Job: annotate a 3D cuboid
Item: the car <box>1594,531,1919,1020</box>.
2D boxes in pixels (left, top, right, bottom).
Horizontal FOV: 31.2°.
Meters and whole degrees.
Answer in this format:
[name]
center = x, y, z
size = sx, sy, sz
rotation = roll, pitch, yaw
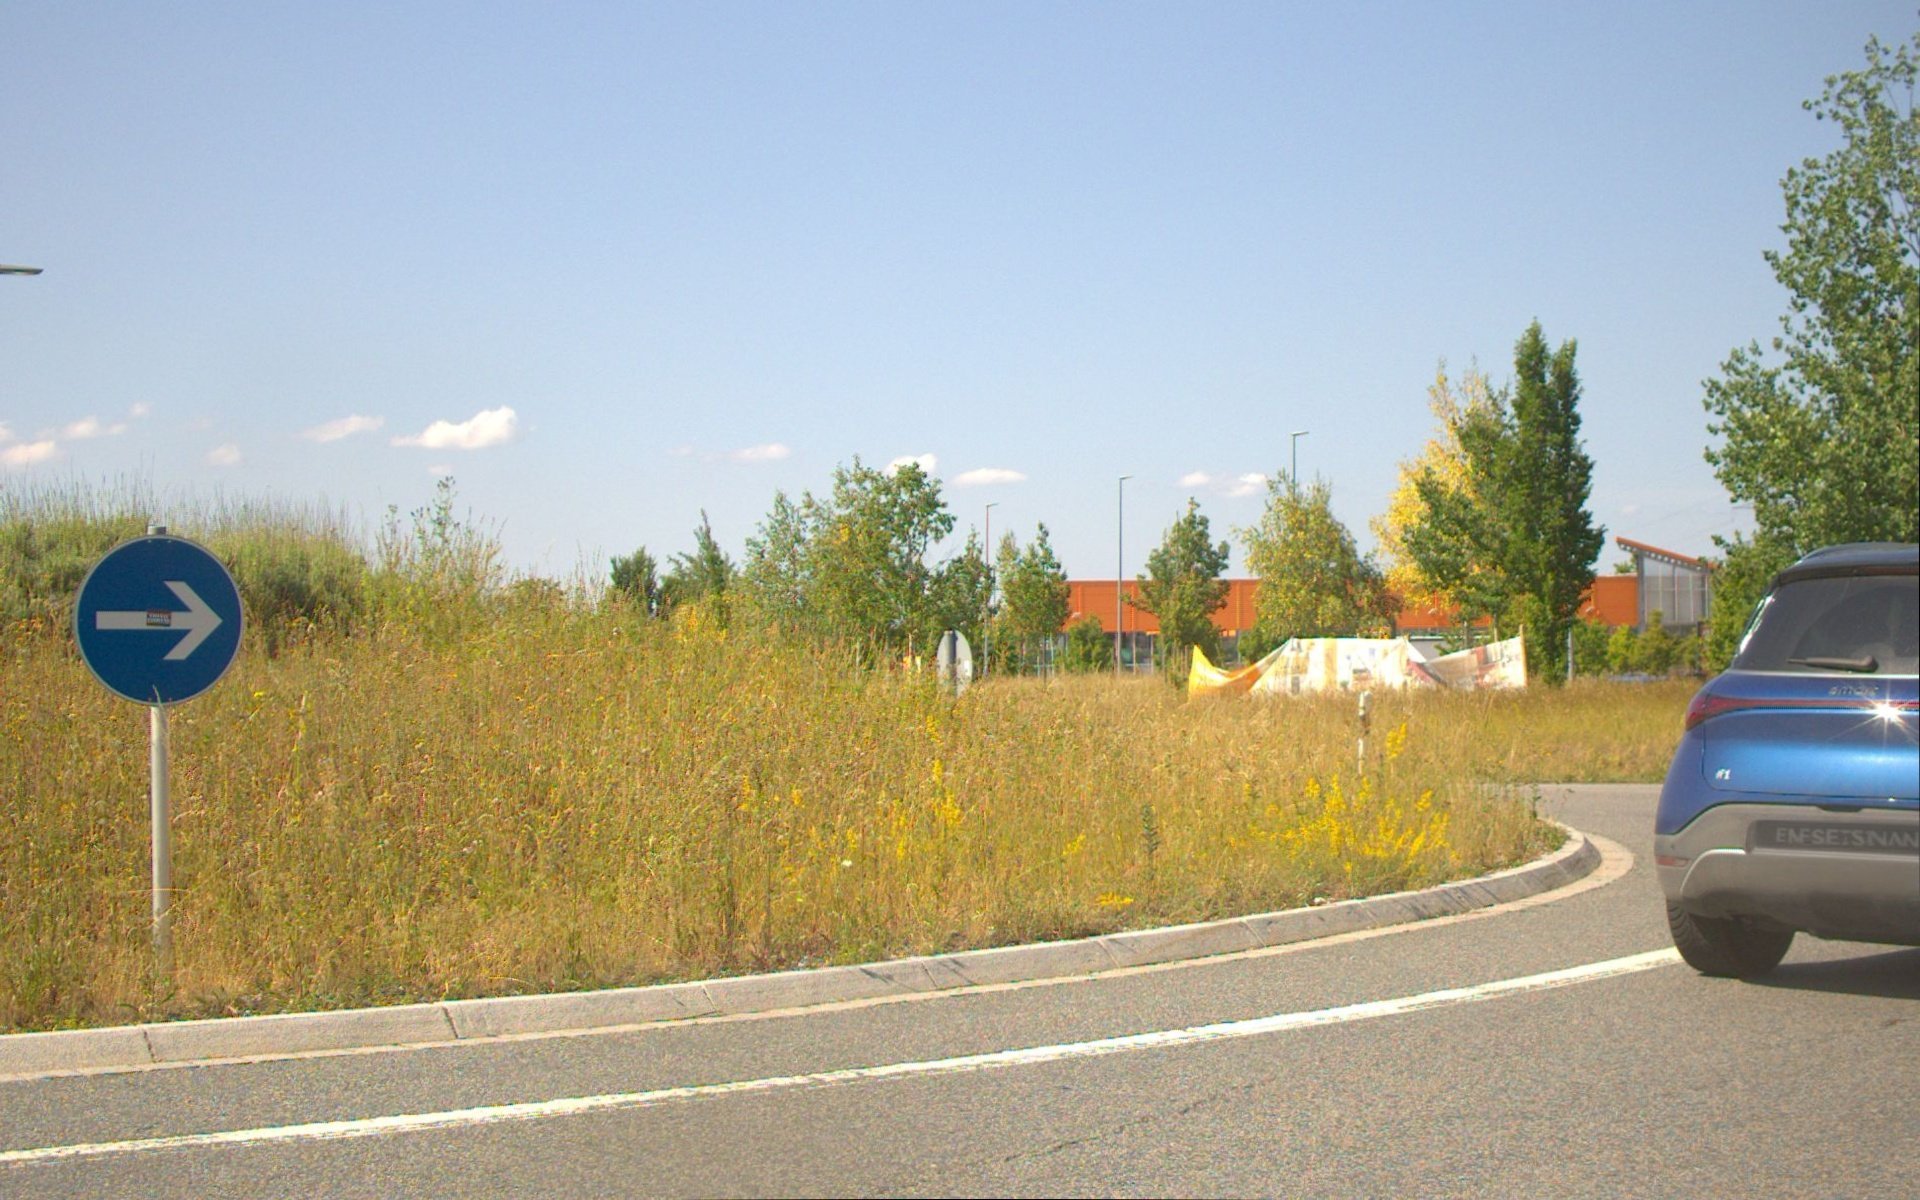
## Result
[car]
center = 4.320, 0.583, 13.182
size = 1.855, 1.630, 4.070
rotation = 0, 0, 42
